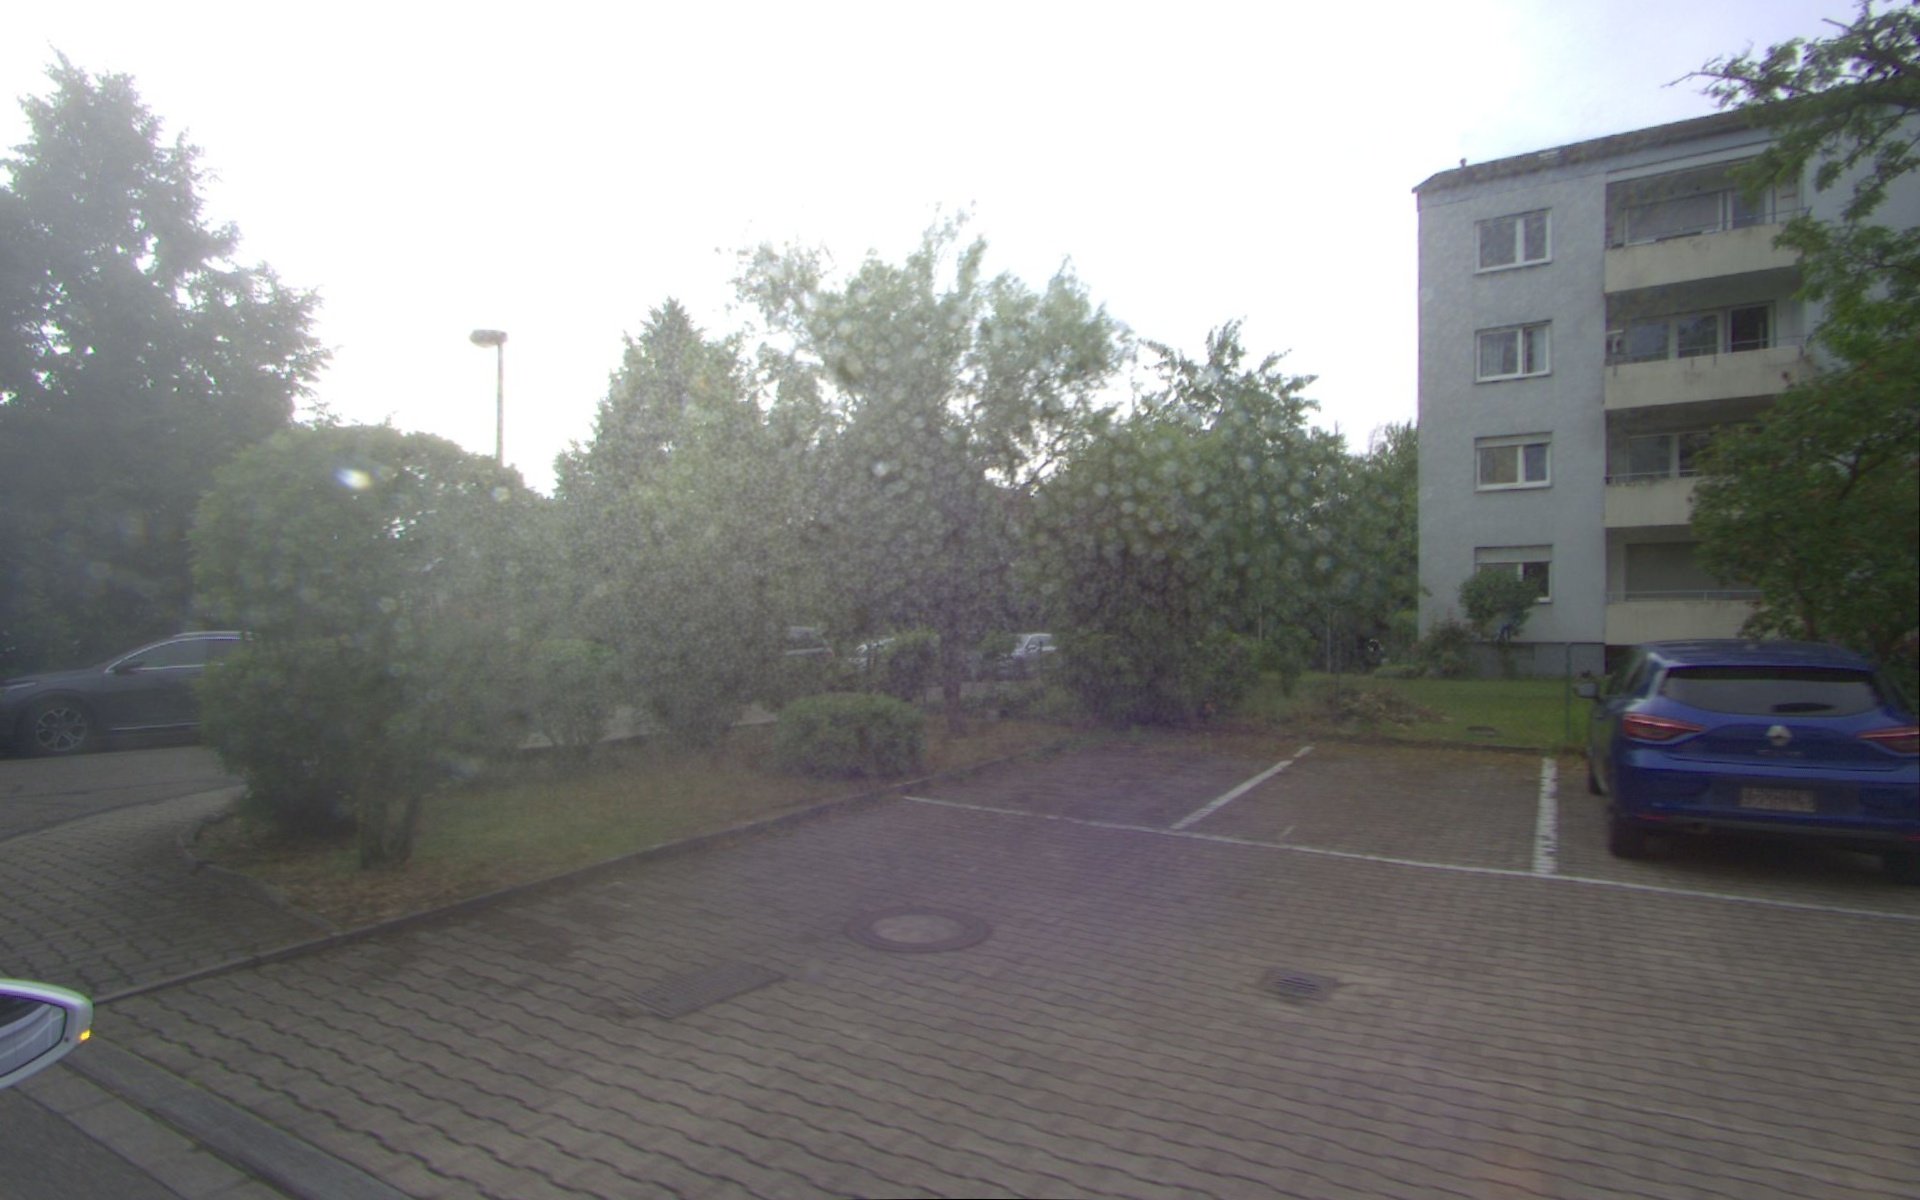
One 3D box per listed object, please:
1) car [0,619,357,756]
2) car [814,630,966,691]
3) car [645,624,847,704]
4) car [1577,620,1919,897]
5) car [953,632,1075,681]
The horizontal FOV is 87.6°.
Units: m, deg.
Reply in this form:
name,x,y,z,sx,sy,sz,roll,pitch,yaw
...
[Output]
name,x,y,z,sx,sy,sz,roll,pitch,yaw
car,-10.601,1.076,13.265,1.725,1.550,4.170,-3,-3,35
car,-1.789,1.596,26.939,1.741,1.497,4.279,-3,-3,36
car,-4.670,1.399,22.506,1.739,1.613,4.529,-3,-3,33
car,5.872,0.937,7.536,1.997,1.530,3.893,0,-1,31
car,1.810,1.785,31.956,1.759,1.446,4.451,-3,-3,36
